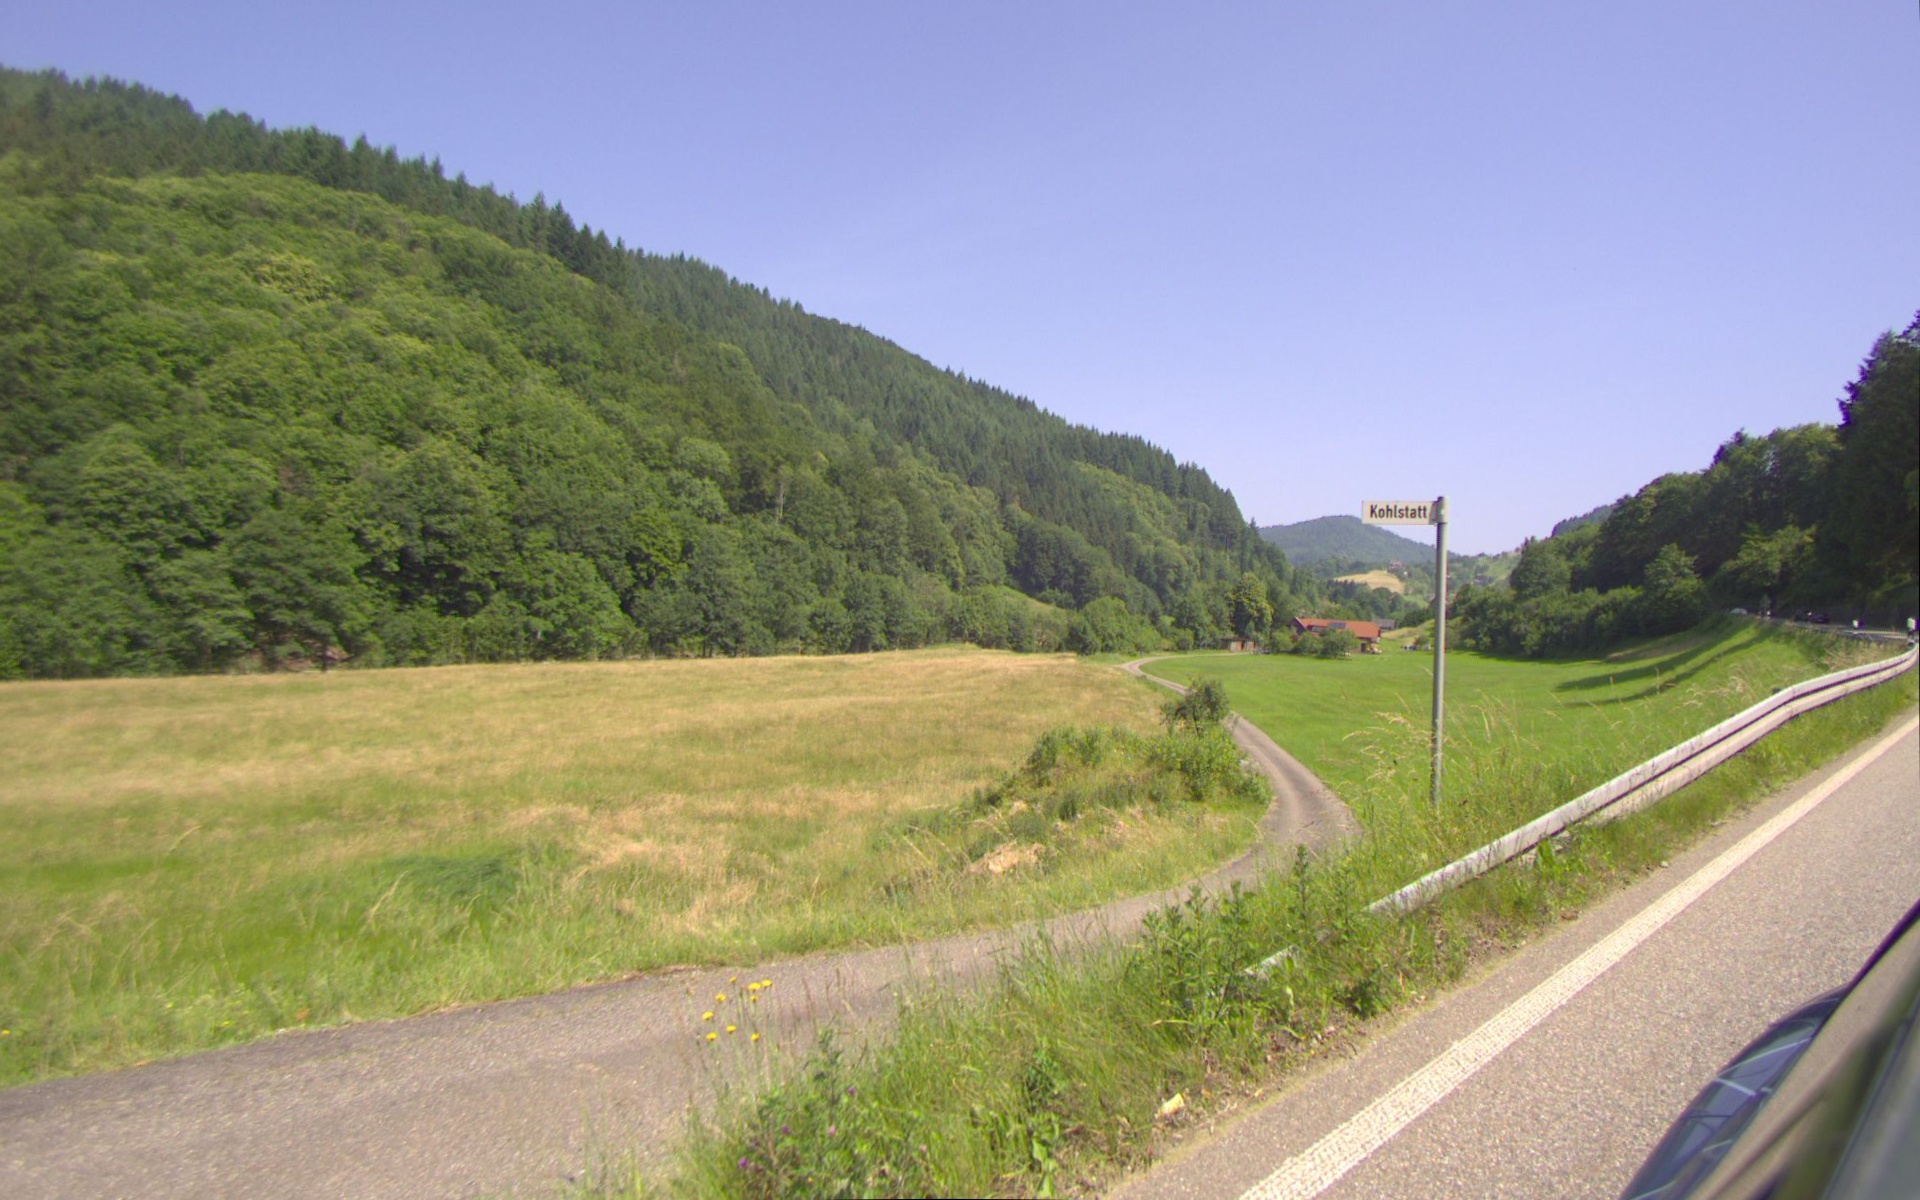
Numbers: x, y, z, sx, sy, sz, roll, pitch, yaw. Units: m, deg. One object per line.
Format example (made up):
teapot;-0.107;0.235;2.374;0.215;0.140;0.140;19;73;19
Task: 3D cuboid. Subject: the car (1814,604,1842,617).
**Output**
car;100.118;1.157;116.791;1.756;1.414;4.100;0;1;31
